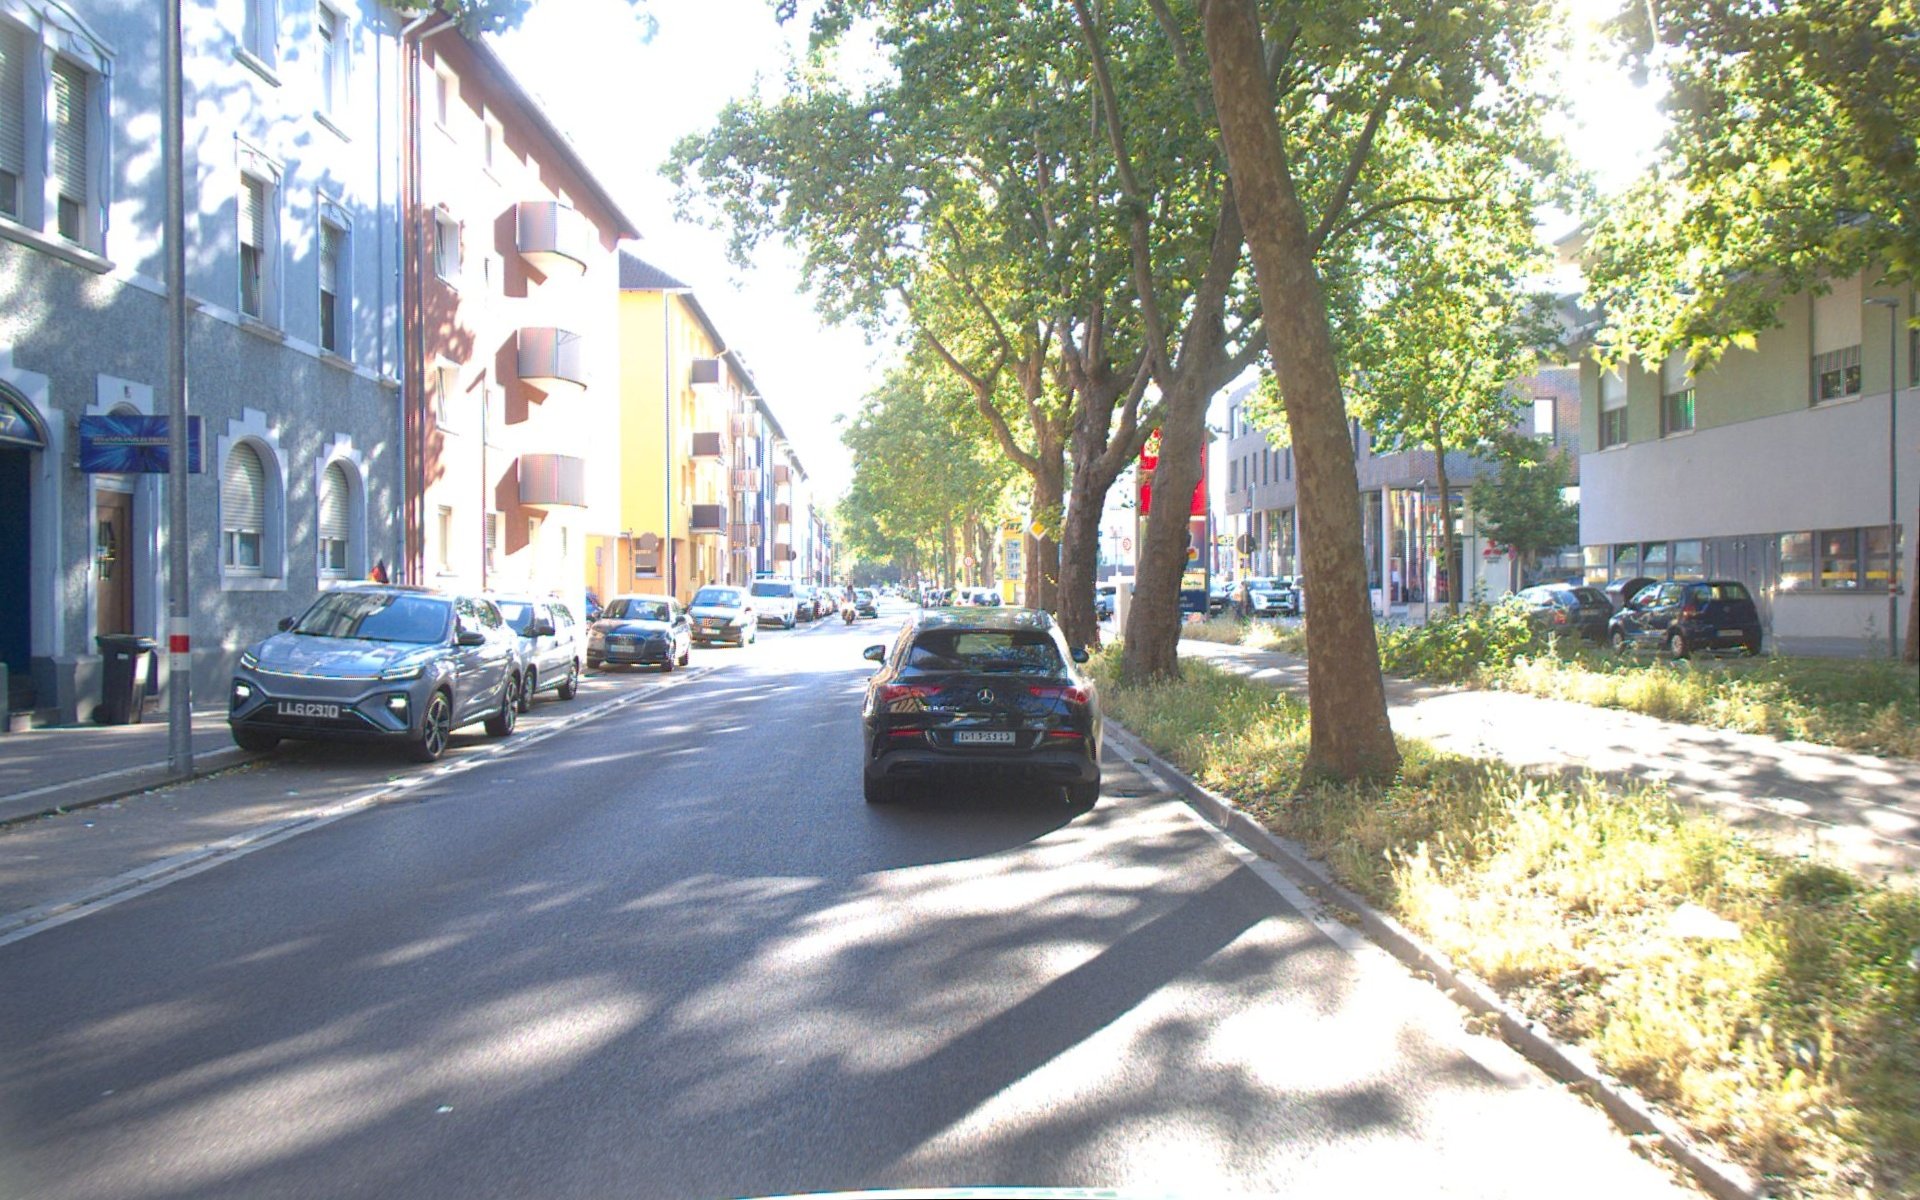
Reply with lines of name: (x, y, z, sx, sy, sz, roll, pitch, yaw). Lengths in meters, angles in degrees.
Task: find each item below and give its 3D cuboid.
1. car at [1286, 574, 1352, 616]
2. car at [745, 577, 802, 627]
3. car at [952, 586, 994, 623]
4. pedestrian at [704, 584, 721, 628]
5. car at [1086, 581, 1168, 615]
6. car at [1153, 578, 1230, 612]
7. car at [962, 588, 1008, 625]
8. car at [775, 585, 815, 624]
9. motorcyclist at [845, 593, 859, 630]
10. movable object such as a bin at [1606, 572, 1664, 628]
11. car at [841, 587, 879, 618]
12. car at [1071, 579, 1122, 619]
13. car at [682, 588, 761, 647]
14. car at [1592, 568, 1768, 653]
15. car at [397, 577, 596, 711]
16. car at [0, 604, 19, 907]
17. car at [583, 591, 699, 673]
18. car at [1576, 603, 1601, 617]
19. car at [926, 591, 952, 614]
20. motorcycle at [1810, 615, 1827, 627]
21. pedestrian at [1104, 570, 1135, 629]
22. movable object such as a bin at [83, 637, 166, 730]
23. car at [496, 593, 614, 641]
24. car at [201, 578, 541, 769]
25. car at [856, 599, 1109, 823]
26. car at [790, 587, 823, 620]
car: (15.997, -0.243, 73.861, 1.945, 1.764, 4.179, -1, 0, -2)
car: (-7.444, 0.059, 66.357, 1.699, 1.940, 5.208, 0, 0, -1)
car: (0.584, 0.198, 77.608, 1.774, 1.565, 4.581, -3, 0, -2)
pedestrian: (-10.384, 0.252, 69.445, 0.575, 1.821, 0.642, -1, 0, -1)
car: (7.992, -0.109, 79.104, 3.777, 1.572, 1.642, -1, 1, -36)
car: (11.521, -0.267, 82.236, 3.781, 1.537, 1.621, -2, 1, -38)
car: (1.034, 0.273, 70.791, 1.602, 1.493, 4.018, -2, 0, -3)
car: (-7.890, 0.188, 79.390, 1.710, 1.819, 4.546, 1, 0, -3)
motorcyclist: (-4.801, 0.507, 73.373, 0.574, 1.633, 0.831, -1, 0, -2)
movable object such as a bin: (18.478, -0.012, 45.327, 1.167, 1.488, 1.408, -1, 0, 10)
car: (-5.114, 0.095, 84.949, 1.735, 1.504, 4.321, -1, 1, -1)
car: (6.048, -0.056, 73.670, 1.717, 1.699, 4.156, -1, 0, -2)
car: (-6.631, 0.455, 46.293, 1.643, 1.550, 4.020, 1, 0, -1)
car: (14.366, 0.183, 33.219, 1.821, 1.580, 3.758, -1, 0, -2)
car: (-6.326, 0.546, 23.007, 1.643, 1.670, 3.984, 1, 0, -1)
car: (-5.624, 0.782, 6.498, 1.643, 1.522, 3.871, 1, 0, -1)
car: (-6.357, 0.600, 33.282, 1.643, 1.512, 3.601, 1, 0, -1)
car: (95.939, 1.577, 252.624, 1.955, 2.049, 3.995, 0, -1, -6)
car: (-1.512, 0.190, 118.023, 1.688, 1.585, 3.598, 1, 0, -4)
motorcycle: (95.718, 2.321, 184.425, 0.536, 1.263, 2.263, -3, 0, -2)
pedestrian: (4.990, -0.018, 51.767, 0.754, 1.792, 0.662, -2, 0, -12)
movable object such as a bin: (-9.057, 0.899, 17.948, 0.546, 0.963, 0.669, -1, 0, -1)
car: (-14.232, 0.590, 58.233, 3.707, 1.594, 1.748, -1, 0, -2)
car: (-5.838, 0.638, 17.056, 1.869, 1.670, 4.577, 1, 0, -1)
car: (0.239, 0.758, 13.332, 1.708, 1.468, 3.970, 1, 0, 2)
car: (-7.963, 0.153, 86.003, 1.565, 1.669, 4.409, 1, 0, -3)
